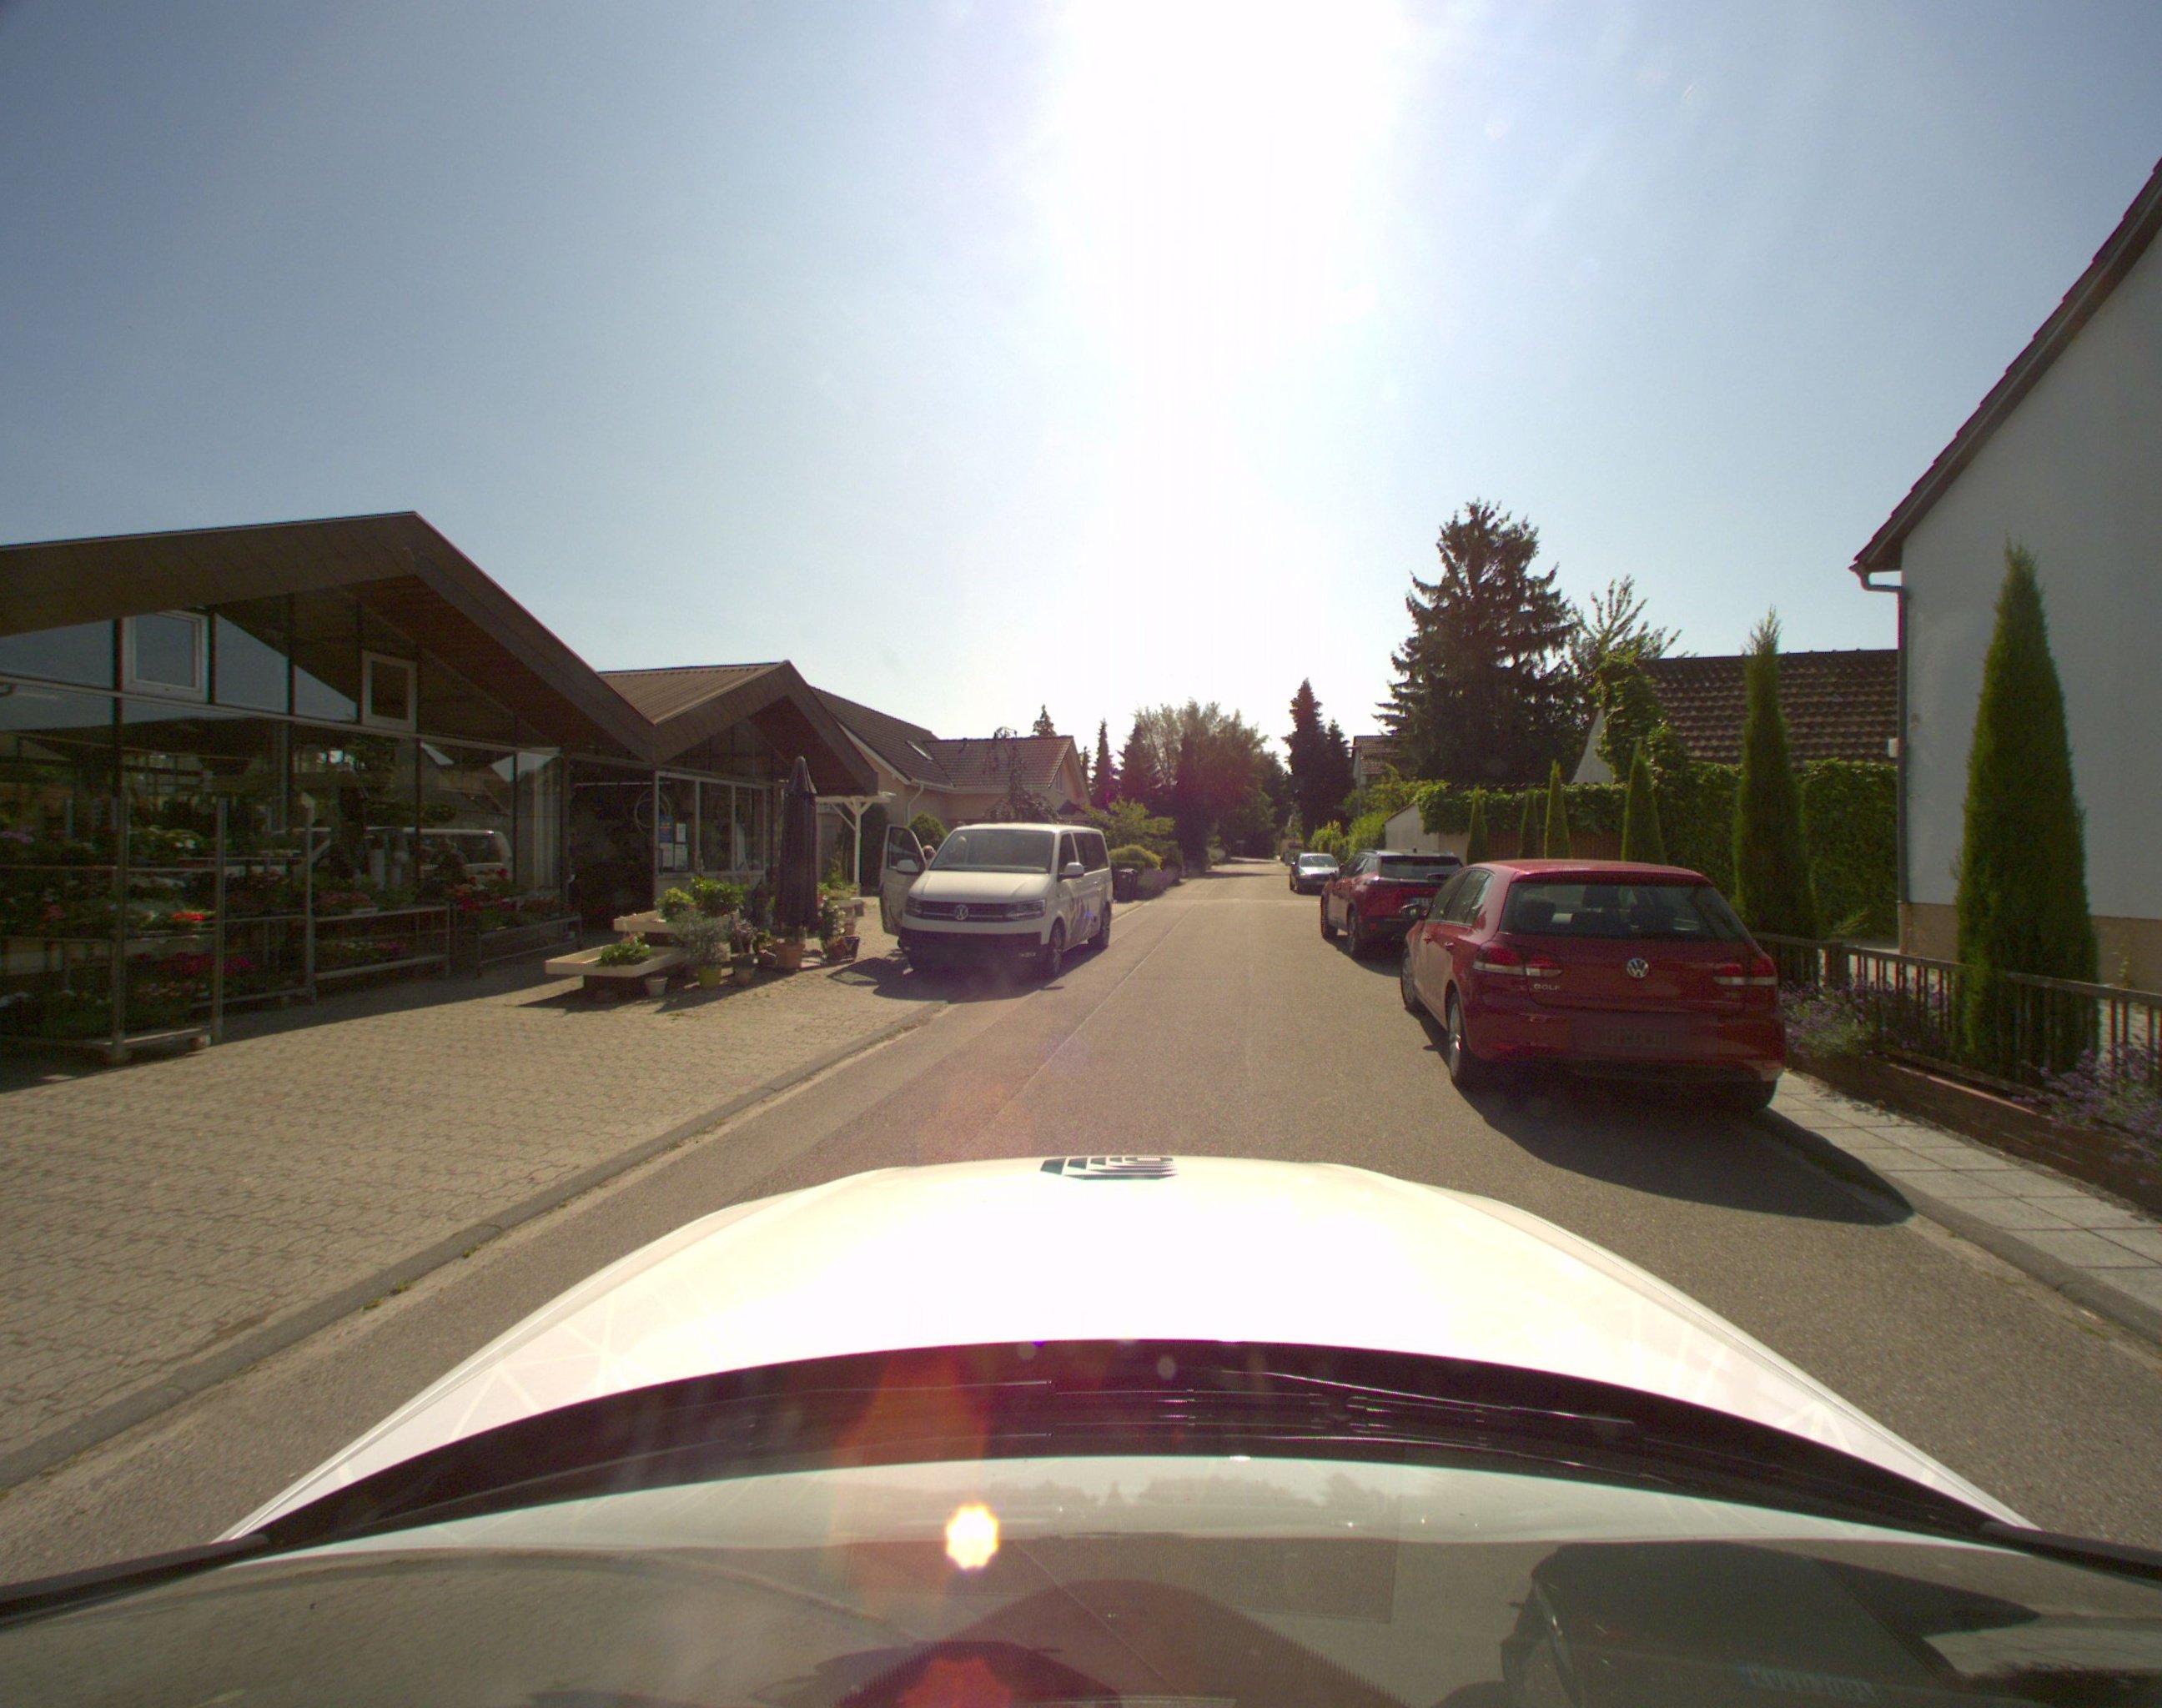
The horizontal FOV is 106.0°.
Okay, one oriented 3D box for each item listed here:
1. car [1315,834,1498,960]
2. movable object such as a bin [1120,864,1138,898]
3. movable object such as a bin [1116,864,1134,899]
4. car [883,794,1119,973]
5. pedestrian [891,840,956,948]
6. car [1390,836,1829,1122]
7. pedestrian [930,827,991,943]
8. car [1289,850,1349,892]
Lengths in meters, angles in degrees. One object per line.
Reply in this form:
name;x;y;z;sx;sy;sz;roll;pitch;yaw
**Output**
car;4.833;0.562;12.671;1.811;1.615;4.010;1;0;9
movable object such as a bin;1.483;0.837;25.174;0.491;1.024;0.449;-1;0;12
movable object such as a bin;1.333;0.831;24.731;0.491;1.024;0.449;-1;0;12
car;-0.838;0.336;11.751;1.915;2.014;4.913;0;0;13
pedestrian;-2.338;0.570;12.084;0.710;1.538;0.645;0;0;45
car;3.621;0.667;6.471;1.762;1.479;4.016;2;0;15
pedestrian;-1.878;0.460;12.674;0.683;1.731;0.646;0;0;42
car;8.546;0.567;29.520;1.692;1.399;4.012;1;0;11
